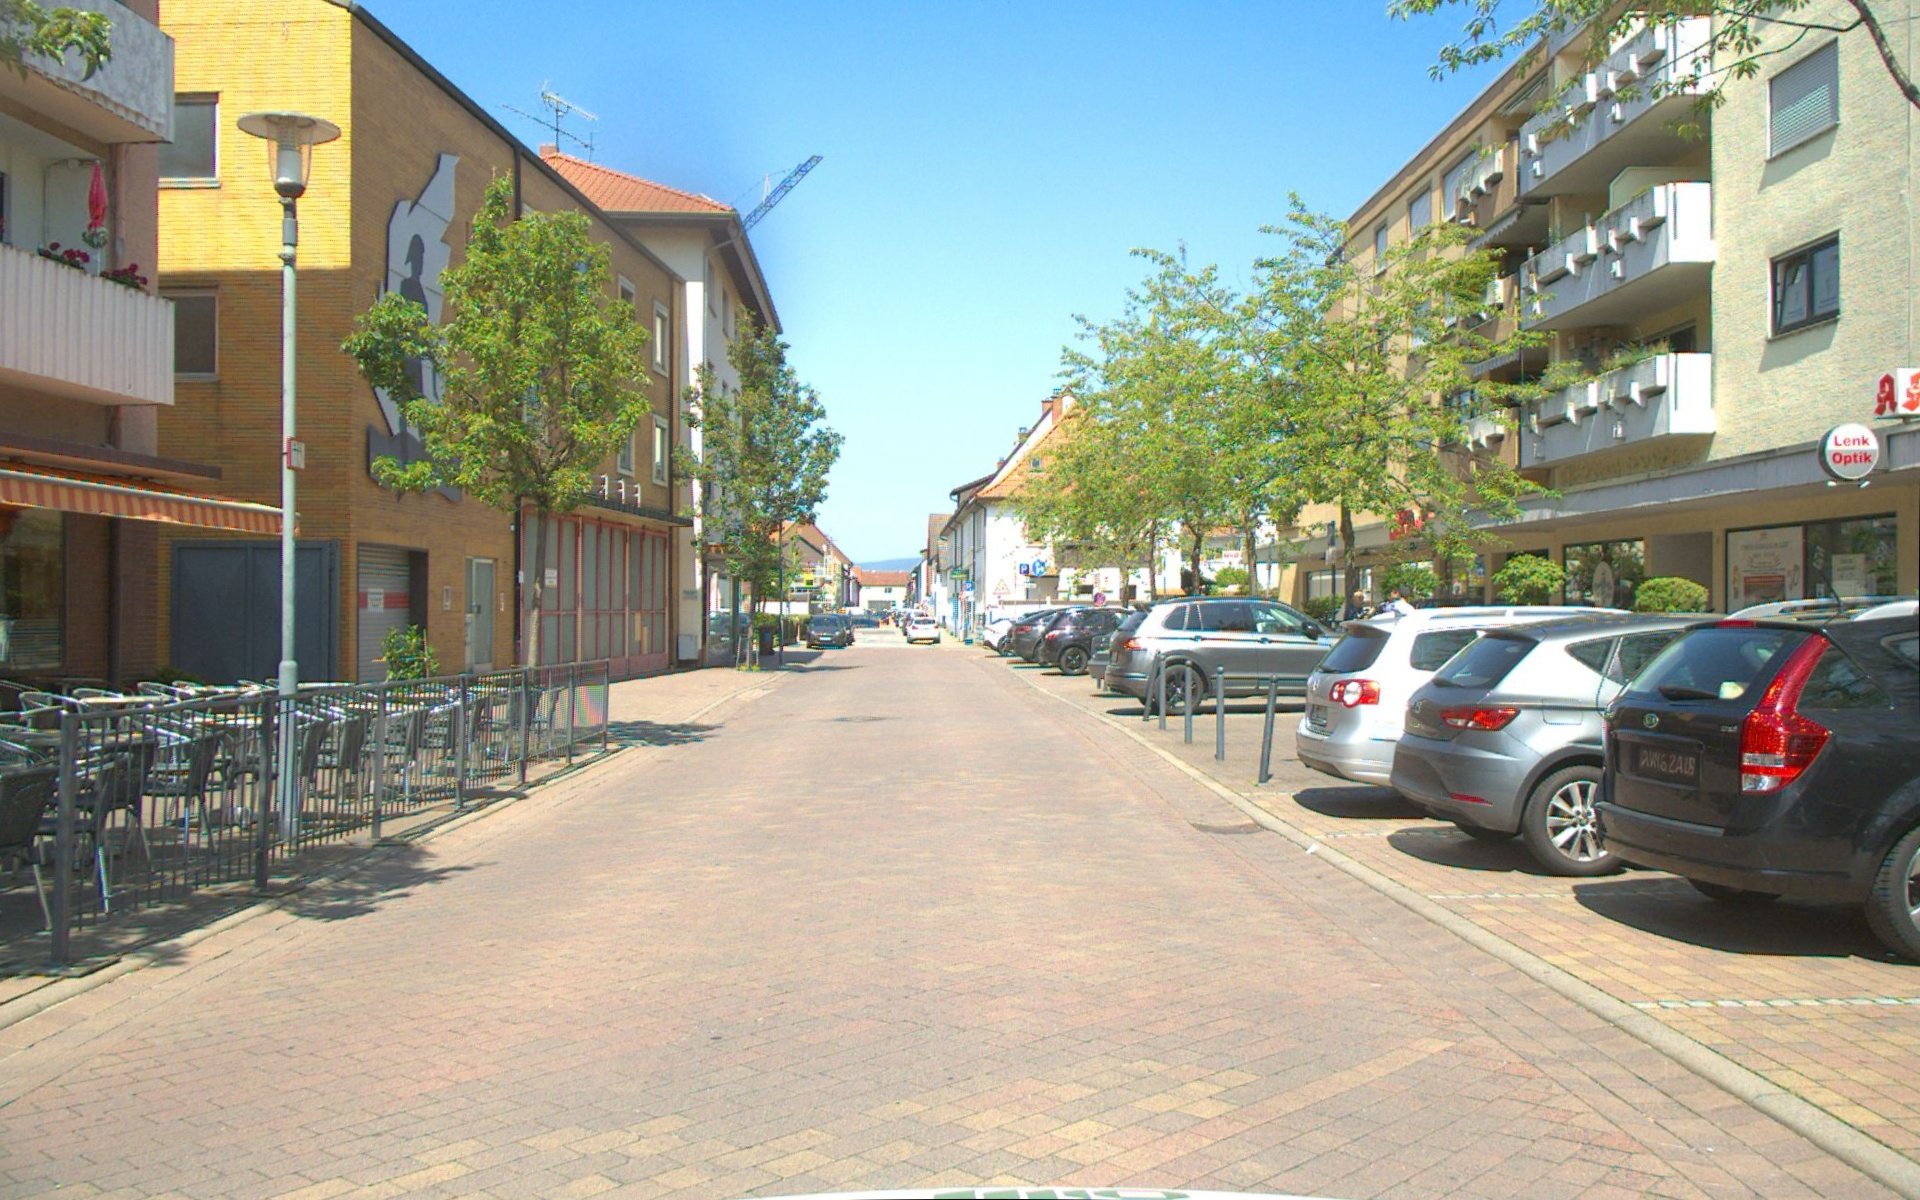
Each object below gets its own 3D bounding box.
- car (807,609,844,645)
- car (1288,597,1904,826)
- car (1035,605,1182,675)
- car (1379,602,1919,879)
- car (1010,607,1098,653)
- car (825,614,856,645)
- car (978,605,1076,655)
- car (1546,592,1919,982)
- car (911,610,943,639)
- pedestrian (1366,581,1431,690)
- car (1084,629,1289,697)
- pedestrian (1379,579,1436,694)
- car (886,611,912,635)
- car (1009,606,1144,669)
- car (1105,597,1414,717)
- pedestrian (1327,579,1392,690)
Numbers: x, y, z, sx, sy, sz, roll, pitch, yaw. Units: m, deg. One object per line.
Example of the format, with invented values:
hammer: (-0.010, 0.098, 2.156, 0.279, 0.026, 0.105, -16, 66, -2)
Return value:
car: (-6.151, 1.229, 75.949, 1.477, 1.527, 3.826, 0, 1, -2)
car: (4.727, 0.792, 12.706, 4.068, 1.601, 1.759, 0, 0, 0)
car: (3.652, 0.989, 41.042, 3.451, 1.684, 1.710, 0, -1, -3)
car: (4.670, 0.788, 10.037, 3.855, 1.515, 1.716, -1, 0, 3)
car: (3.621, 1.165, 64.270, 3.281, 1.745, 1.469, 0, -1, -3)
car: (-6.320, 1.566, 87.900, 1.477, 1.527, 3.826, 0, 1, -2)
car: (2.453, 1.110, 61.156, 3.412, 1.730, 1.533, -1, -1, -7)
car: (5.190, 0.740, 7.860, 4.101, 1.568, 1.944, -1, 0, -6)
car: (-1.928, 1.364, 94.938, 1.794, 1.559, 3.944, 0, 1, -2)
pedestrian: (7.448, 0.593, 28.135, 0.822, 1.818, 0.805, 0, 0, -8)
car: (4.047, 1.111, 29.753, 3.454, 1.162, 1.272, 0, -1, -6)
pedestrian: (7.155, 0.568, 26.476, 0.819, 1.818, 0.807, 0, 0, 10)
car: (-4.185, 1.579, 114.516, 1.711, 1.507, 3.628, 0, 1, -1)
car: (3.123, 1.016, 44.787, 3.451, 1.653, 1.710, 0, -1, -3)
car: (4.258, 0.793, 23.865, 4.159, 1.644, 1.557, 0, 0, -3)
pedestrian: (6.642, 0.559, 27.511, 0.822, 1.818, 0.805, 0, 0, -8)
